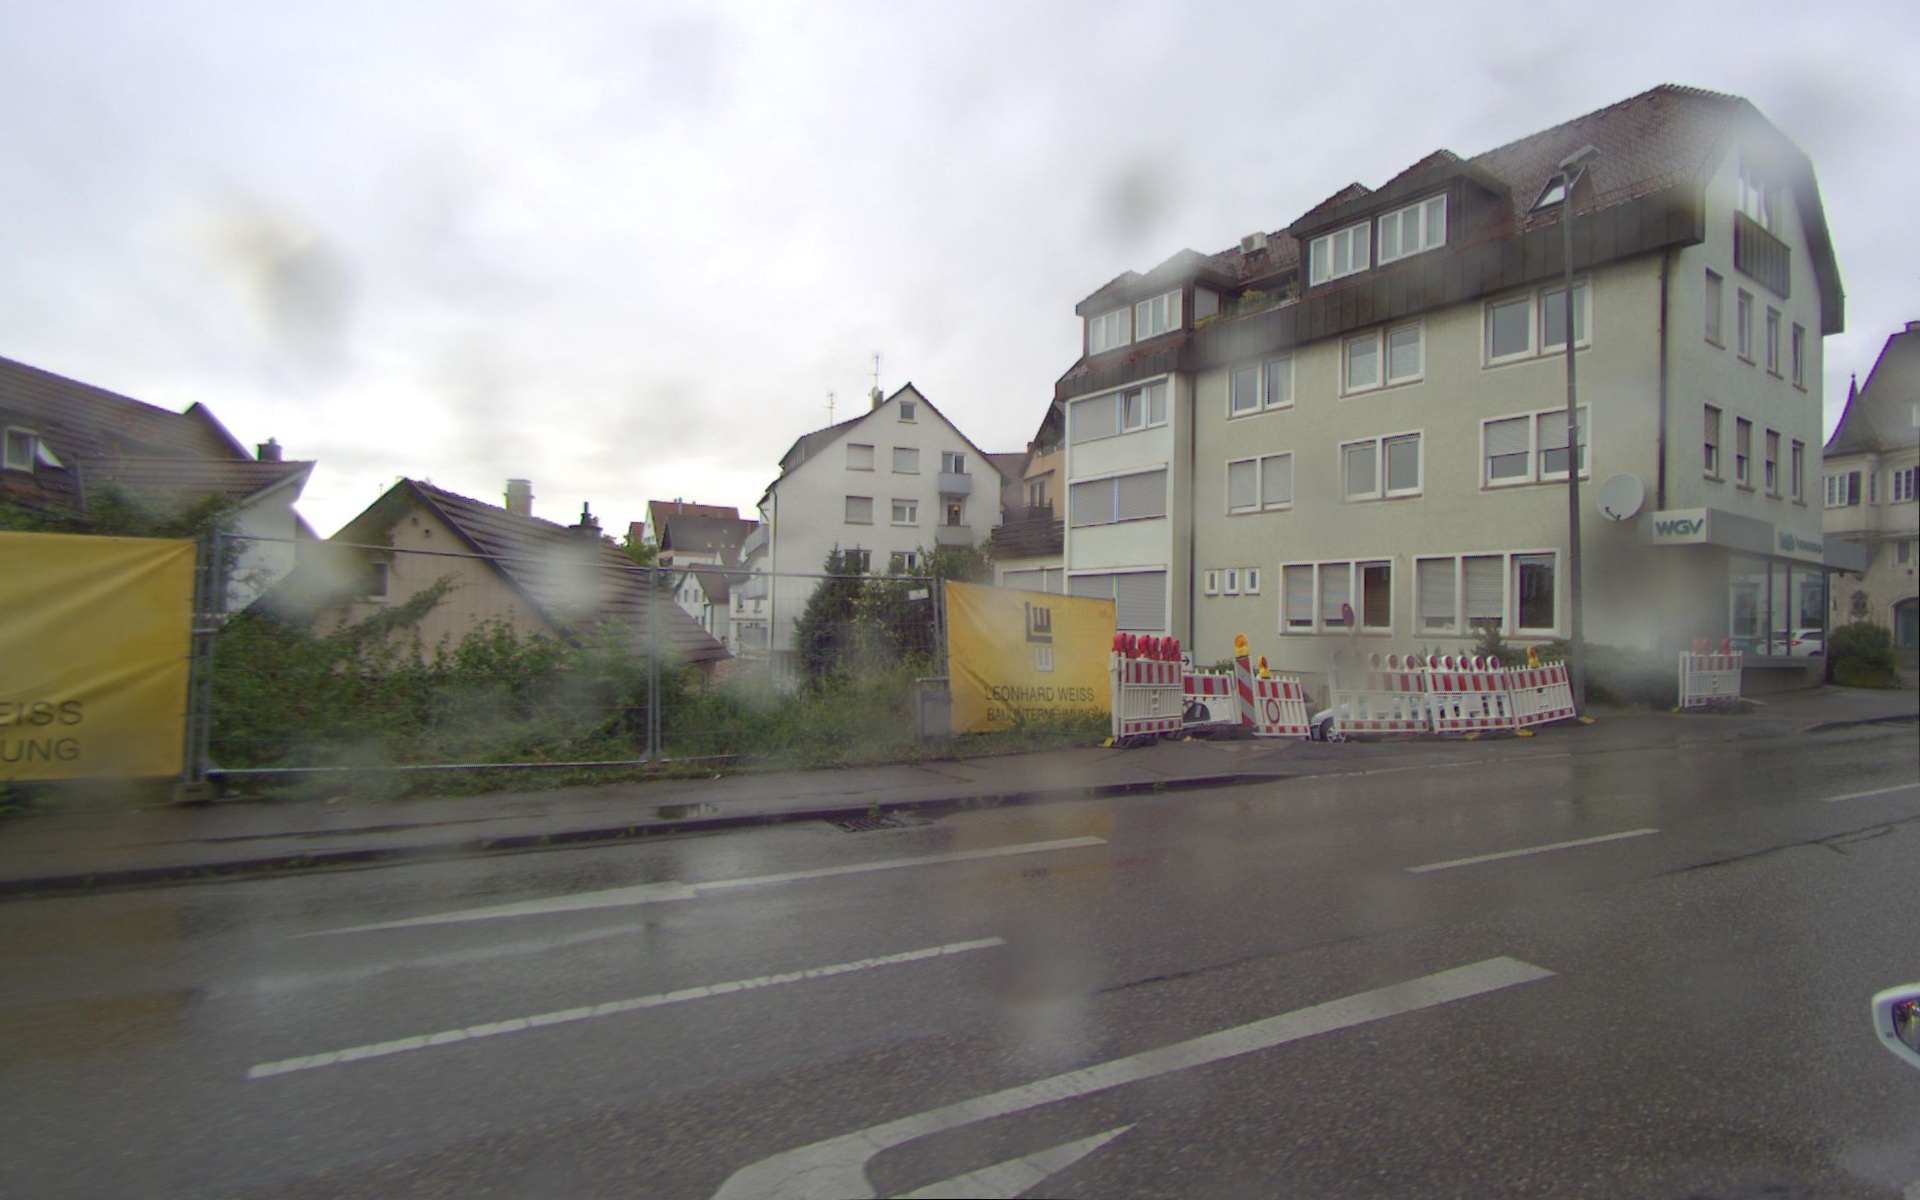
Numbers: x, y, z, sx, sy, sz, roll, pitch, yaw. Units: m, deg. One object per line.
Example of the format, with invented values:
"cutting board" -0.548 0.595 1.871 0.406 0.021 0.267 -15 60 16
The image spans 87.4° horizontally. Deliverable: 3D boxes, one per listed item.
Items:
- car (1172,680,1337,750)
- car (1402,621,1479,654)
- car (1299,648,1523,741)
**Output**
"car" 6.819 2.728 23.515 1.485 1.327 3.427 -1 -8 -36
"car" 24.362 1.887 50.948 3.488 1.597 1.703 1 -1 -24
"car" 8.588 1.858 19.364 1.636 1.407 3.477 -1 -8 -38
